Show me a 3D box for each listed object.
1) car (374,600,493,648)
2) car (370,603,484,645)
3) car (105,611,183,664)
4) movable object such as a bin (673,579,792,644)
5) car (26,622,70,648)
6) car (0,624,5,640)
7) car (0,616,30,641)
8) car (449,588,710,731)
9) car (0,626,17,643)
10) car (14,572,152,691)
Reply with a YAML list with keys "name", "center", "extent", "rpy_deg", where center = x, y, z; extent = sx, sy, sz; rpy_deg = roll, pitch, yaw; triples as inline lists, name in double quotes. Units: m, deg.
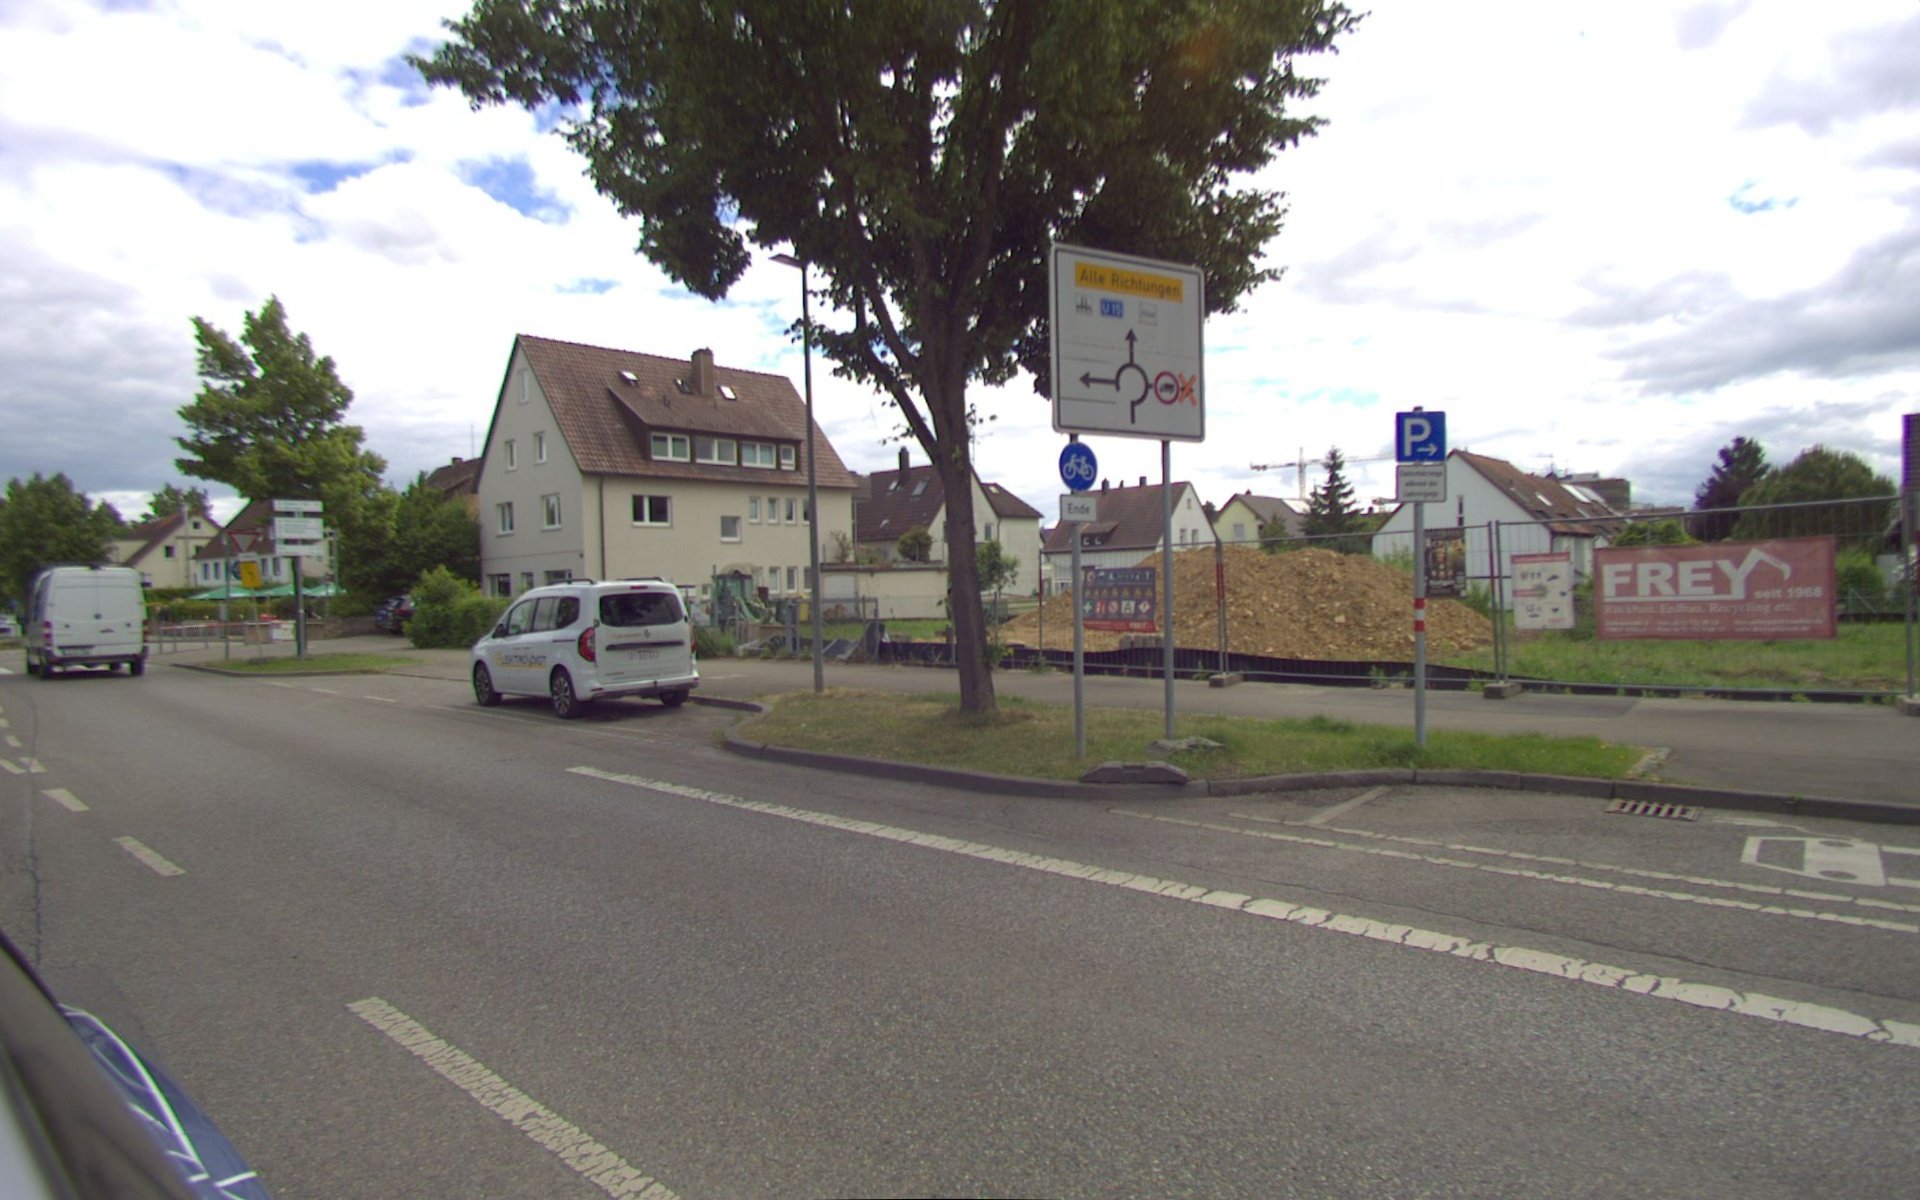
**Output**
- name: "car"
  center: [-21.337, 0.925, 41.101]
  extent: [3.873, 1.674, 1.857]
  rpy_deg: [-3, 2, -44]
- name: "car"
  center: [-22.656, 0.983, 43.094]
  extent: [1.818, 1.547, 3.878]
  rpy_deg: [0, 2, 41]
- name: "car"
  center: [-29.930, 1.343, 37.072]
  extent: [1.899, 1.767, 4.004]
  rpy_deg: [-2, 0, -43]
- name: "movable object such as a bin"
  center: [-8.233, 0.429, 36.499]
  extent: [4.358, 2.204, 1.877]
  rpy_deg: [-2, 0, 39]
- name: "car"
  center: [-61.820, 2.363, 68.586]
  extent: [4.046, 1.648, 1.728]
  rpy_deg: [-2, 0, 42]
- name: "car"
  center: [-94.898, 3.165, 99.058]
  extent: [3.744, 1.486, 1.644]
  rpy_deg: [-2, 0, 41]
- name: "car"
  center: [-73.802, 2.245, 78.910]
  extent: [1.726, 1.843, 4.050]
  rpy_deg: [-2, 0, -44]
- name: "car"
  center: [-5.728, 0.787, 14.921]
  extent: [4.551, 1.784, 1.751]
  rpy_deg: [-2, 0, 43]
- name: "car"
  center: [-89.250, 3.253, 94.287]
  extent: [3.744, 1.486, 1.644]
  rpy_deg: [-2, 0, 41]
- name: "car"
  center: [-22.269, 0.752, 25.598]
  extent: [5.805, 2.694, 1.997]
  rpy_deg: [-2, 0, 43]
